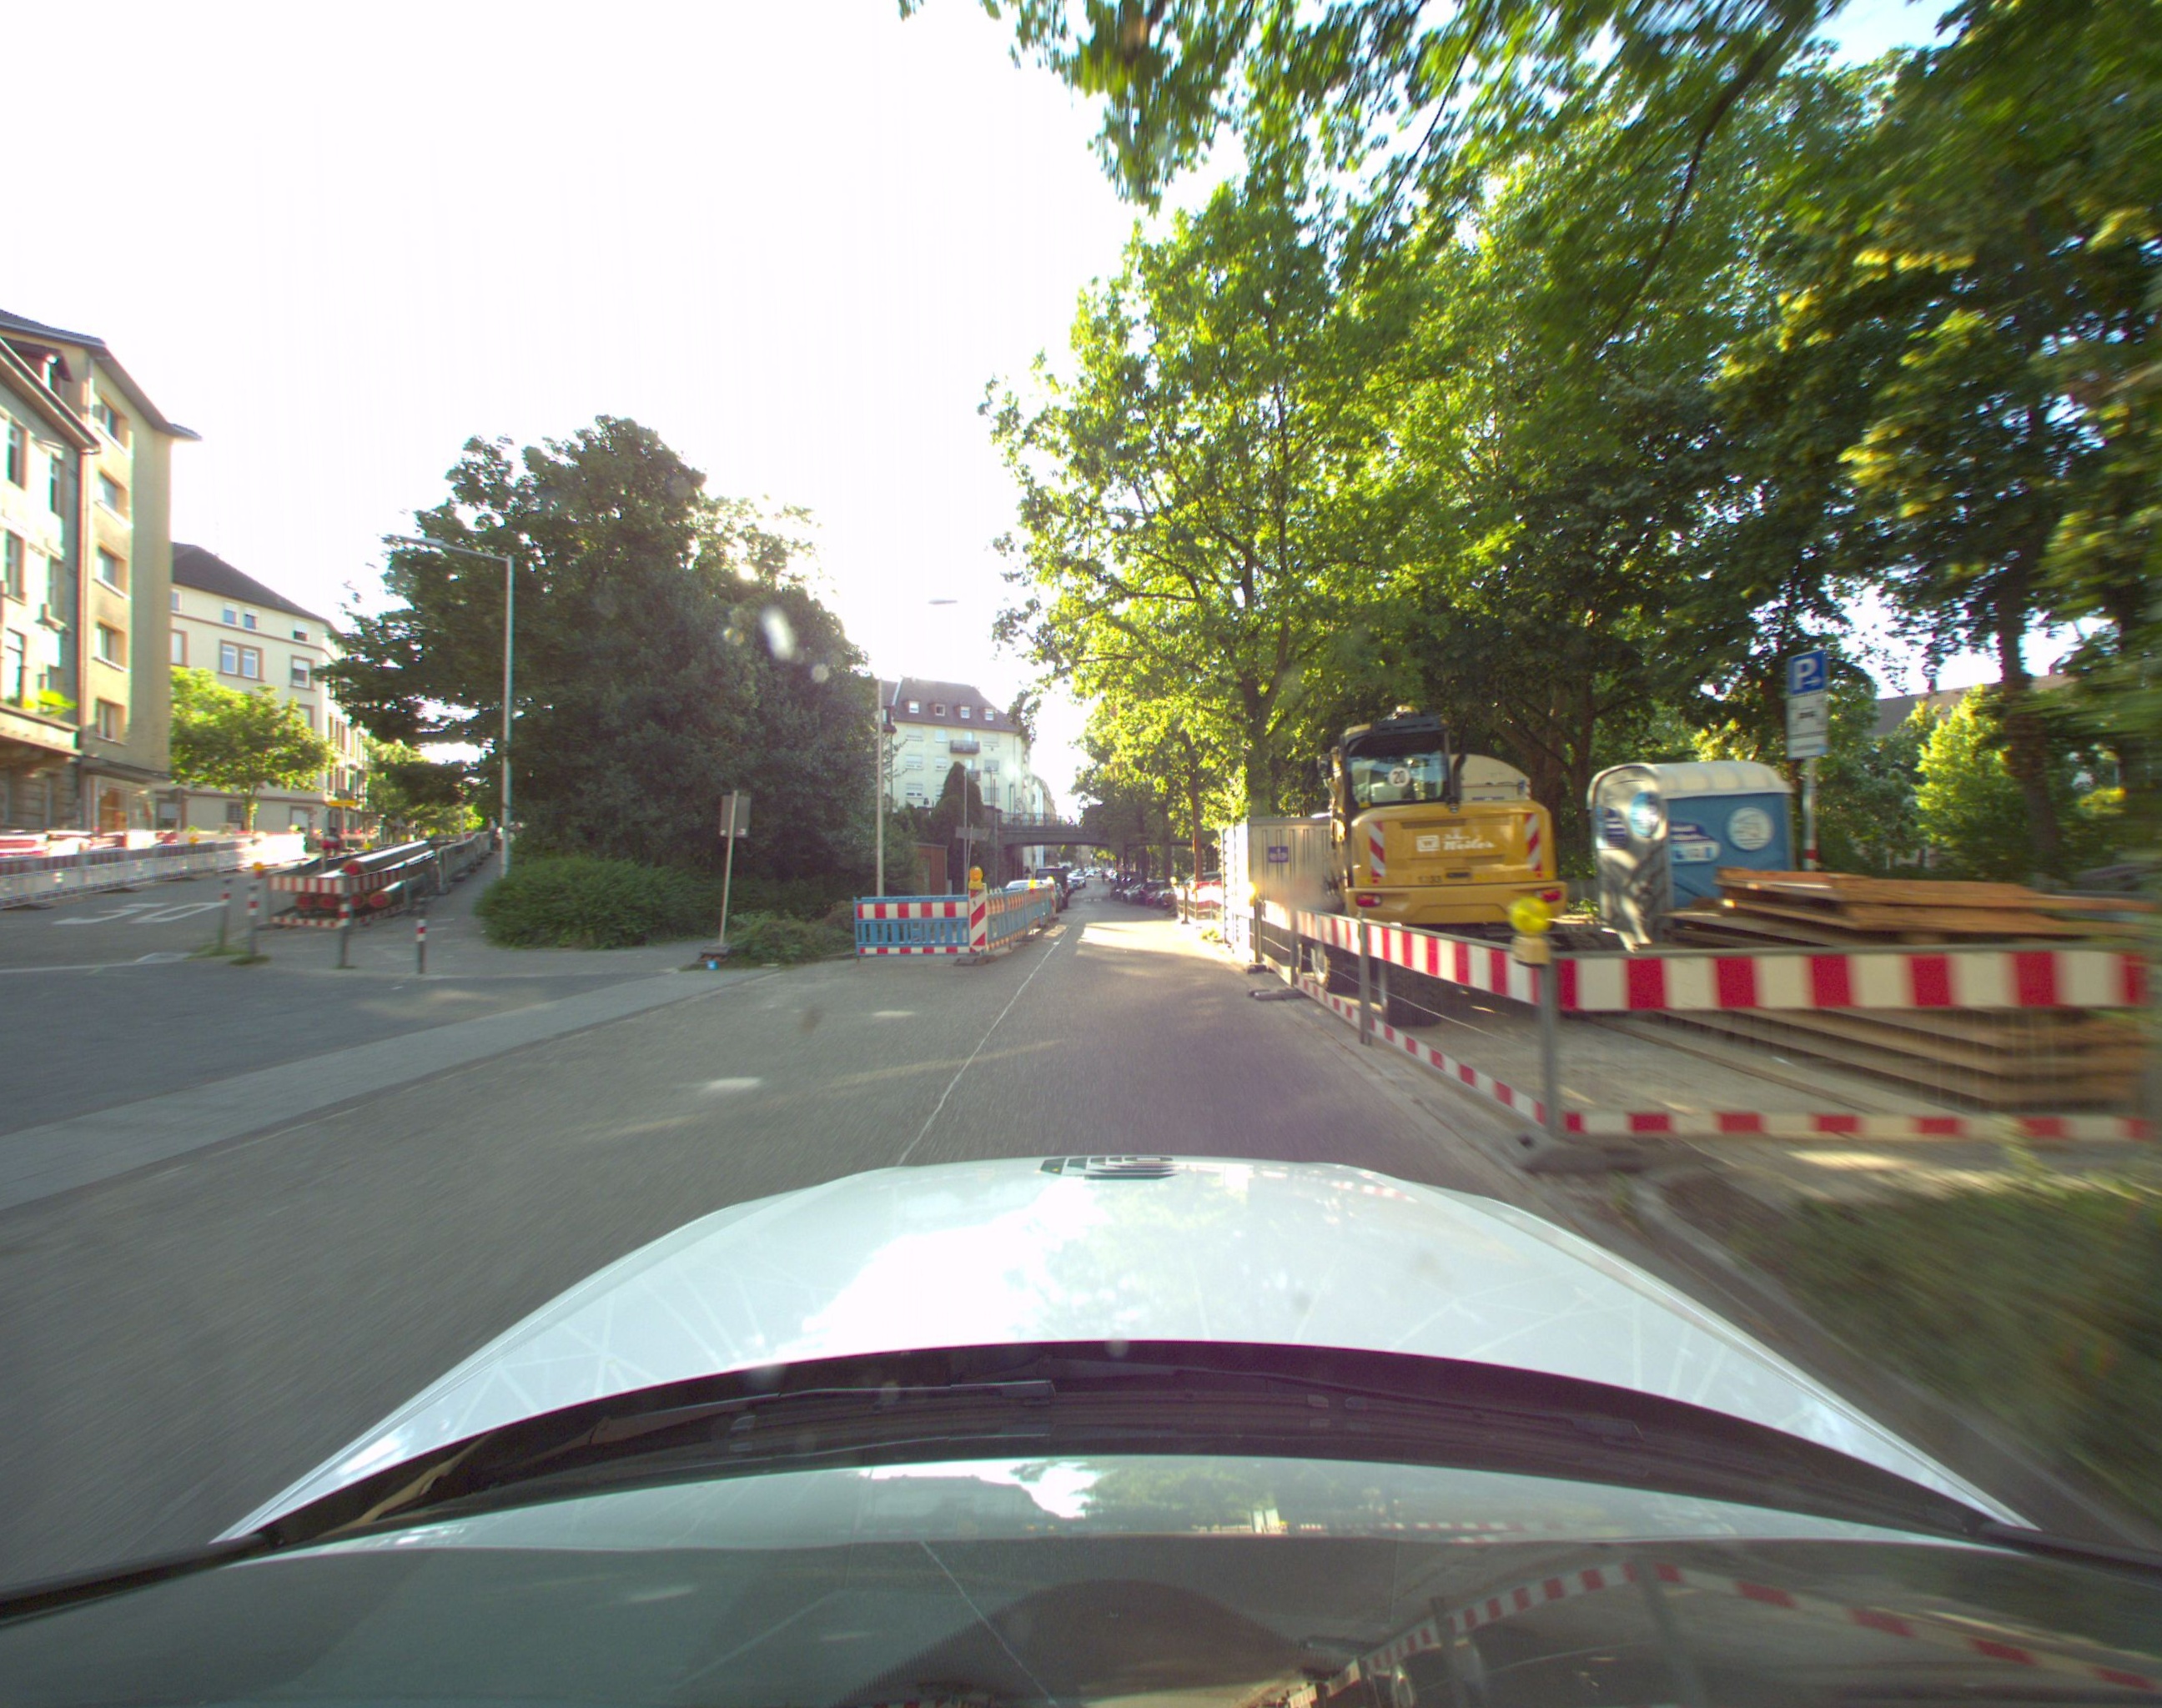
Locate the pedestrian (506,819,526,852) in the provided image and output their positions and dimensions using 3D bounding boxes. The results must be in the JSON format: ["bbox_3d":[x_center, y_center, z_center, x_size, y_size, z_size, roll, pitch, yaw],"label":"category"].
[{"bbox_3d":[-29.998,-0.973,43.239,0.863,1.763,1.080,1,0,-36],"label":"pedestrian"}]

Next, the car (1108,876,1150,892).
[{"bbox_3d":[5.101,3.180,86.858,4.374,1.610,1.779,1,-3,-1],"label":"car"}]

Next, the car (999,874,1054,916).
[{"bbox_3d":[-2.019,1.568,31.265,1.709,1.418,4.106,-2,-3,1],"label":"car"}]

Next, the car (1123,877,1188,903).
[{"bbox_3d":[5.202,2.536,57.251,4.374,1.702,1.915,1,-3,-1],"label":"car"}]

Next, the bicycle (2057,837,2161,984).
[{"bbox_3d":[10.080,0.492,6.869,1.024,1.285,2.139,-2,0,-10],"label":"bicycle"}]

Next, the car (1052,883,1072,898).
[{"bbox_3d":[-1.913,3.720,83.248,1.806,1.398,3.975,-2,-3,1],"label":"car"}]

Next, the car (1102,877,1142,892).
[{"bbox_3d":[4.576,3.451,91.310,4.374,1.610,1.779,1,-3,-1],"label":"car"}]

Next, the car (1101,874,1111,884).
[{"bbox_3d":[4.446,4.410,142.774,1.768,1.610,4.402,0,-3,2],"label":"car"}]

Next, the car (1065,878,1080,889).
[{"bbox_3d":[-1.095,3.890,108.027,1.806,1.398,3.975,-2,-3,1],"label":"car"}]

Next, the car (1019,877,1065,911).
[{"bbox_3d":[-1.731,1.773,37.087,1.806,1.440,4.350,1,-1,1],"label":"car"}]

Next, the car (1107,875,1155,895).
[{"bbox_3d":[4.637,2.905,76.157,4.374,1.785,1.915,1,-3,-1],"label":"car"}]

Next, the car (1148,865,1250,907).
[{"bbox_3d":[5.792,1.594,40.200,4.729,1.997,1.915,1,-3,-2],"label":"car"}]

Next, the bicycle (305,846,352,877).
[{"bbox_3d":[-24.462,0.245,26.502,0.809,0.968,2.086,0,0,-34],"label":"bicycle"}]

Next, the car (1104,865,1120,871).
[{"bbox_3d":[8.753,3.898,231.280,4.371,1.610,1.781,1,-3,1],"label":"car"}]

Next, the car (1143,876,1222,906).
[{"bbox_3d":[5.869,2.173,47.478,4.374,1.702,1.915,1,-3,-1],"label":"car"}]

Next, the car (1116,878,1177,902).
[{"bbox_3d":[4.807,2.666,60.094,4.374,1.702,1.915,1,-3,-1],"label":"car"}]

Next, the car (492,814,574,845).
[{"bbox_3d":[-38.034,-1.665,56.660,4.384,2.013,1.921,0,0,-21],"label":"car"}]

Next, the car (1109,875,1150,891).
[{"bbox_3d":[5.335,3.192,89.386,4.374,1.610,1.779,1,-3,-1],"label":"car"}]

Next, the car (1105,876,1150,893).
[{"bbox_3d":[4.583,3.057,80.710,4.374,1.610,1.779,1,-3,-1],"label":"car"}]

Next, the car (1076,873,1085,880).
[{"bbox_3d":[-0.077,4.679,167.747,1.806,1.398,3.975,-2,-3,1],"label":"car"}]

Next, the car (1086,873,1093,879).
[{"bbox_3d":[2.121,5.393,199.801,1.806,1.398,3.975,-2,-3,1],"label":"car"}]

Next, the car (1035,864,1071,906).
[{"bbox_3d":[-1.702,1.959,50.897,2.041,2.498,5.694,1,-3,-1],"label":"car"}]

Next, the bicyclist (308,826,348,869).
[{"bbox_3d":[-24.501,-0.208,26.524,0.809,1.383,0.975,1,0,-34],"label":"bicyclist"}]

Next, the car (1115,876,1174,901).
[{"bbox_3d":[4.844,2.676,62.722,4.374,1.785,1.915,1,-3,-1],"label":"car"}]

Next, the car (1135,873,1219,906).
[{"bbox_3d":[5.267,1.984,45.078,4.374,1.702,1.915,1,-3,-1],"label":"car"}]

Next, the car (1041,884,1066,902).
[{"bbox_3d":[-2.208,3.231,67.181,1.806,1.398,3.975,-2,-3,1],"label":"car"}]

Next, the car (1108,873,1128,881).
[{"bbox_3d":[8.138,5.008,179.276,4.371,1.610,1.781,1,-3,1],"label":"car"}]

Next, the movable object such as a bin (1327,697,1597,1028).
[{"bbox_3d":[3.632,0.088,8.394,1.979,2.699,3.123,-1,-1,15],"label":"movable object such as a bin"}]

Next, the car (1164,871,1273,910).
[{"bbox_3d":[5.907,1.593,35.336,4.376,1.606,1.914,1,-3,-3],"label":"car"}]

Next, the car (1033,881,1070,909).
[{"bbox_3d":[-1.629,2.295,45.660,1.806,1.453,4.349,-2,-3,1],"label":"car"}]

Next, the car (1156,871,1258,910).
[{"bbox_3d":[5.753,1.685,37.519,4.374,1.702,1.915,1,-3,-1],"label":"car"}]

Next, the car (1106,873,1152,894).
[{"bbox_3d":[4.583,2.859,78.205,4.374,1.862,1.915,1,-3,-1],"label":"car"}]

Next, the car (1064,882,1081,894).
[{"bbox_3d":[-1.016,3.998,96.030,1.806,1.398,3.975,-2,-3,1],"label":"car"}]

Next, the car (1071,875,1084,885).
[{"bbox_3d":[-0.493,3.804,118.063,1.806,1.398,3.975,-2,-3,1],"label":"car"}]

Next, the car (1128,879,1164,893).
[{"bbox_3d":[7.967,3.981,100.472,4.371,1.610,1.781,1,-3,1],"label":"car"}]

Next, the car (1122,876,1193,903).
[{"bbox_3d":[4.909,2.320,52.657,4.374,1.702,1.915,1,-3,-1],"label":"car"}]
